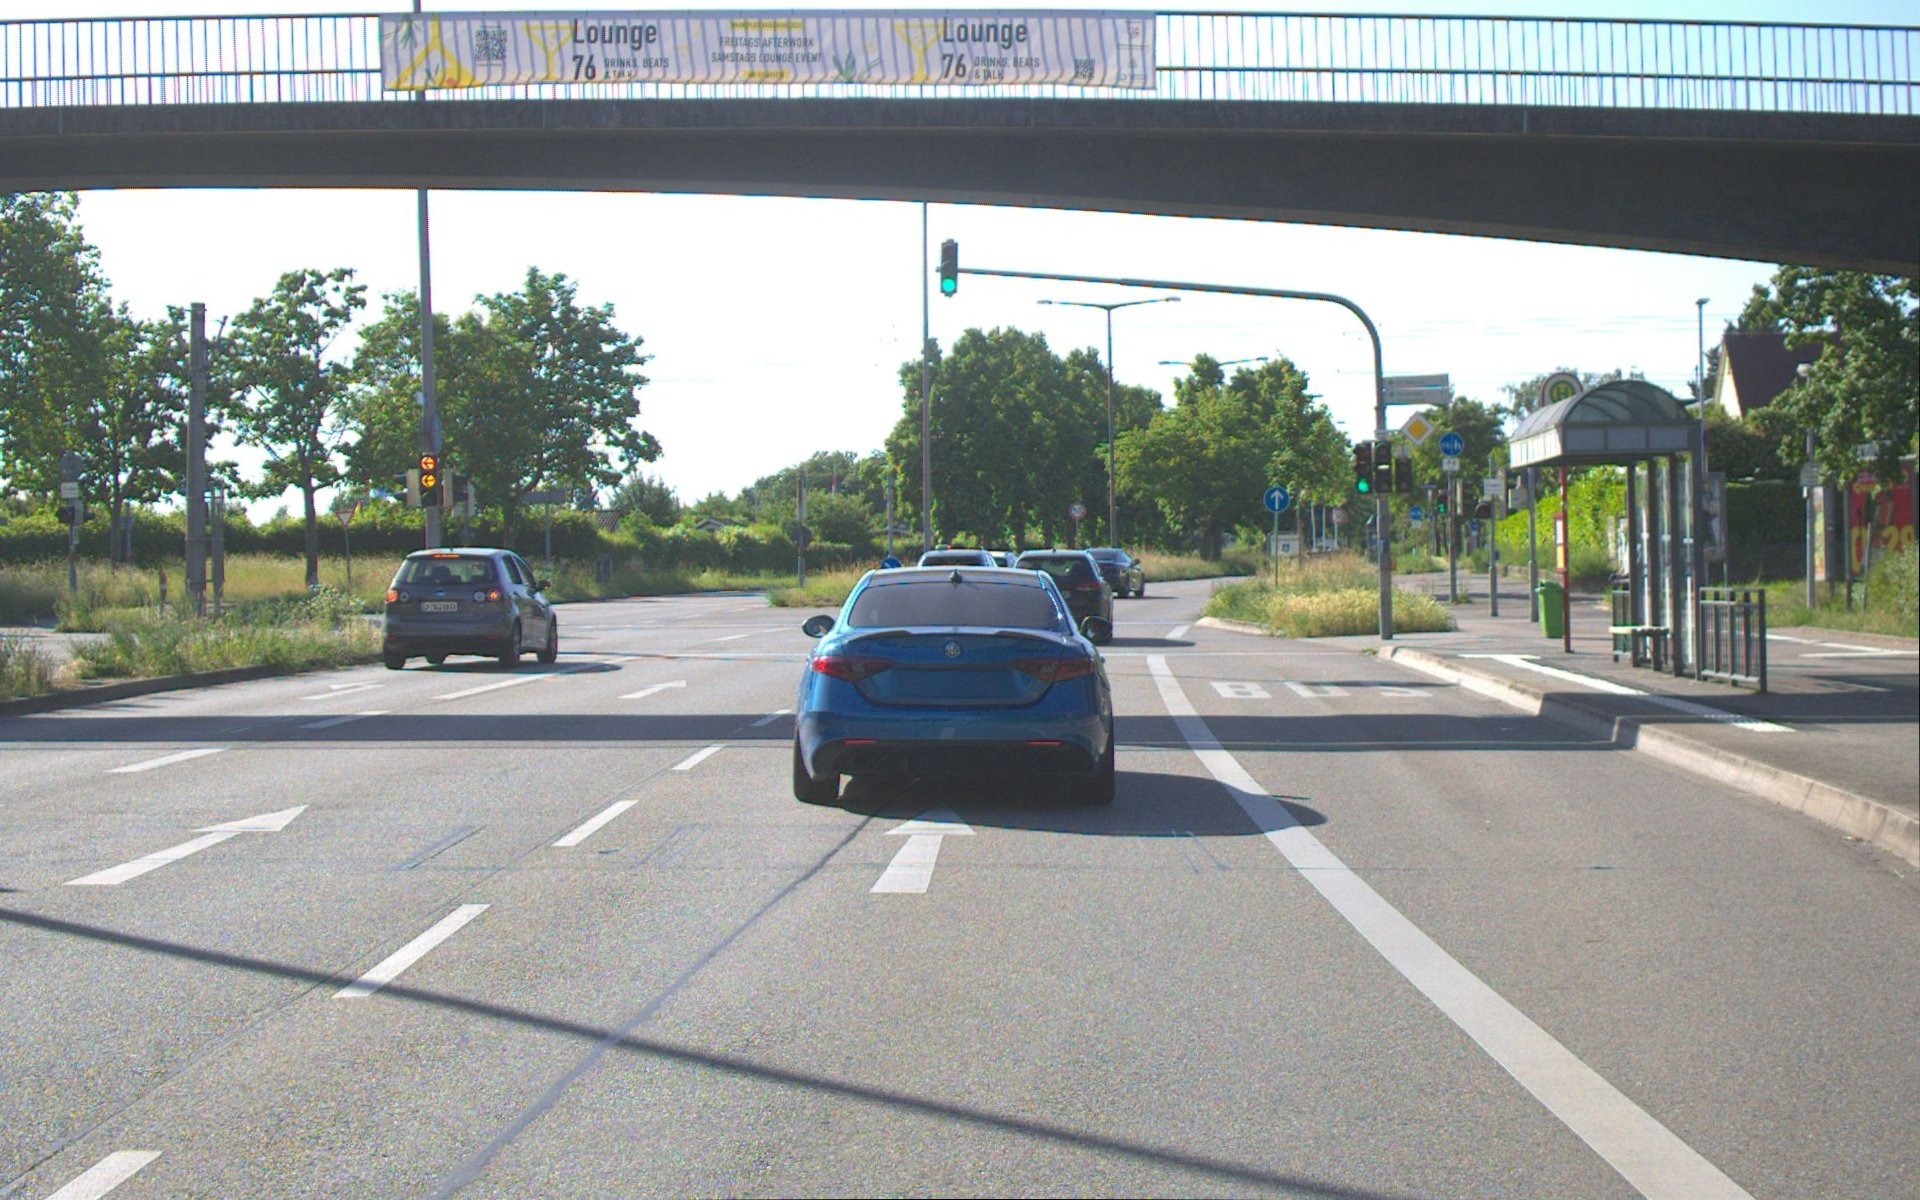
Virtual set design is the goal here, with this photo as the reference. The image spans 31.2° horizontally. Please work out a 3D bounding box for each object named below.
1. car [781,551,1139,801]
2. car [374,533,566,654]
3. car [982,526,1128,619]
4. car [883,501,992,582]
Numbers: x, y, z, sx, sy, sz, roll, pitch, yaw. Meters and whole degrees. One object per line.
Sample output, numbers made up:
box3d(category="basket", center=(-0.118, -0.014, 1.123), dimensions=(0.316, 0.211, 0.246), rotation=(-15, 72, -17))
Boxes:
box3d(category="car", center=(-0.106, 0.411, 21.432), dimensions=(1.882, 1.401, 4.225), rotation=(0, 0, -5))
box3d(category="car", center=(-6.478, -0.098, 45.806), dimensions=(1.797, 1.550, 3.730), rotation=(0, 0, 4))
box3d(category="car", center=(1.495, -0.442, 55.720), dimensions=(1.882, 1.449, 4.527), rotation=(0, 0, -5))
box3d(category="car", center=(-0.483, -1.166, 69.952), dimensions=(1.707, 1.592, 4.225), rotation=(0, 0, -7))
